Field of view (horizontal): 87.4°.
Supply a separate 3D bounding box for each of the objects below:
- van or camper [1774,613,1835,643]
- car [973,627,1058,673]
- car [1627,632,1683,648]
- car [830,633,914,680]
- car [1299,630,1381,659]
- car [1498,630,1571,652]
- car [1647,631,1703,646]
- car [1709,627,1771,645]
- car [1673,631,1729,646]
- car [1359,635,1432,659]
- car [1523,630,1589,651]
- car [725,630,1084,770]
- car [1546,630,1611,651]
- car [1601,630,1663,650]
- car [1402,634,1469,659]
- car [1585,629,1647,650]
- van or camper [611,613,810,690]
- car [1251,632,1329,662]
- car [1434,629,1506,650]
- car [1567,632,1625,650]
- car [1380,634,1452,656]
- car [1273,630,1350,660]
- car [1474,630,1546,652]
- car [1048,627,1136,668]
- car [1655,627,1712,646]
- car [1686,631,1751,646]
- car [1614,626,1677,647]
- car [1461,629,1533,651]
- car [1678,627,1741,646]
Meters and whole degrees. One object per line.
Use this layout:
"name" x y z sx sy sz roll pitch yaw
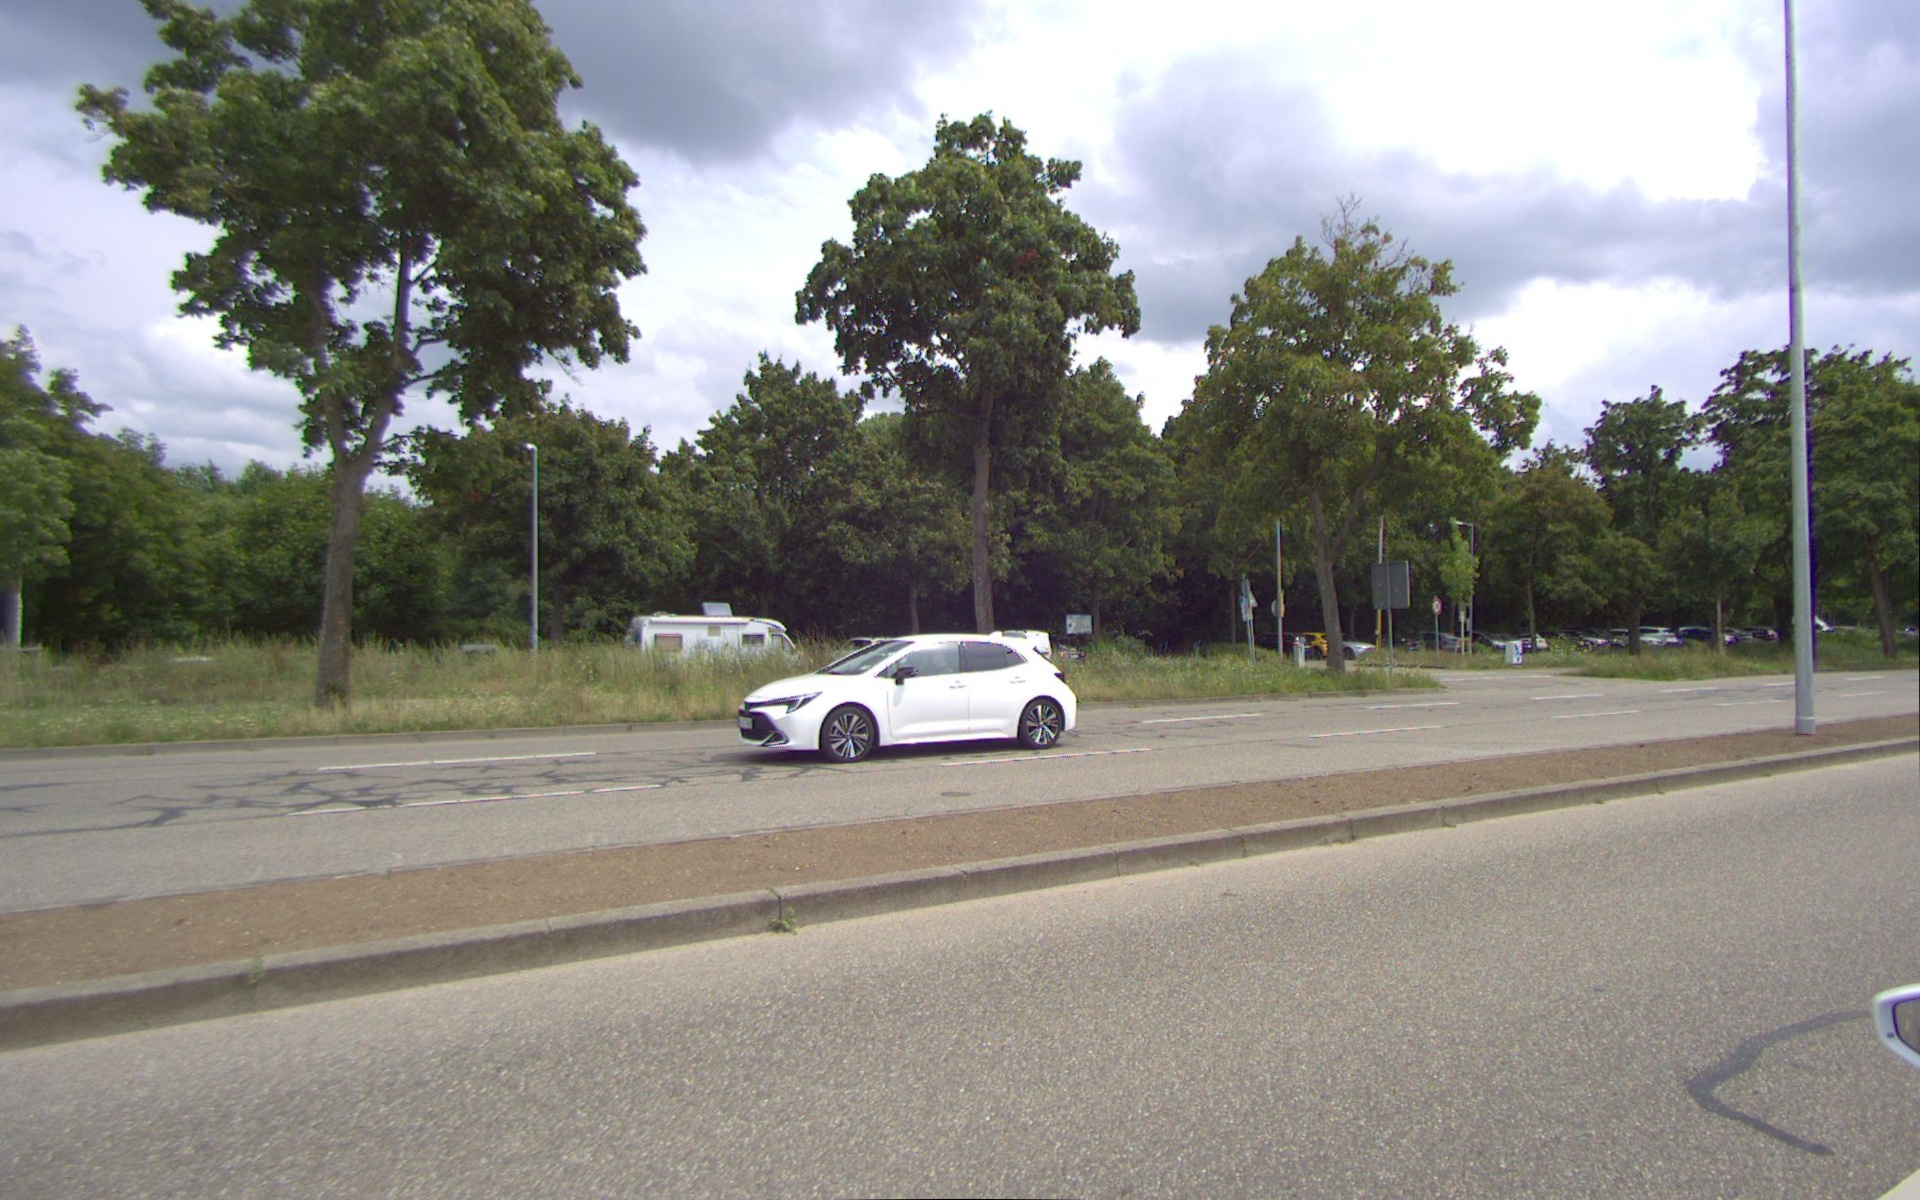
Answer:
"van or camper" 80.009 2.595 95.198 1.904 2.793 3.968 0 -1 -30
"car" 2.401 2.163 44.519 1.916 1.912 3.968 0 -1 -30
"car" 54.471 3.126 78.727 1.424 1.127 3.352 0 -1 -29
"car" -3.574 2.208 40.231 1.864 1.739 3.968 0 -1 -30
"car" 21.558 2.499 57.152 1.862 1.518 4.163 0 -1 -28
"car" 39.582 2.792 69.284 1.973 1.429 3.975 0 -1 -25
"car" 56.203 2.998 78.982 1.424 1.144 3.352 0 -1 -29
"car" 66.568 3.088 85.778 1.941 1.444 3.758 0 -1 -28
"car" 59.511 3.071 80.721 1.424 1.108 3.352 0 -1 -29
"car" 25.838 2.772 59.678 1.763 1.274 3.694 0 -1 -28
"car" 41.608 2.841 70.212 1.687 1.378 3.631 0 -1 -28
"car" -0.635 1.129 12.400 4.110 1.438 1.709 0 -3 -30
"car" 44.344 2.881 72.032 1.687 1.378 3.631 0 -1 -28
"car" 50.805 3.003 75.993 1.498 1.430 3.635 0 -1 -28
"car" 29.869 2.904 63.144 1.498 1.430 3.635 0 -1 -28
"car" 48.754 2.919 74.736 1.498 1.430 3.635 0 -1 -28
"van or camper" -8.991 1.781 36.494 6.641 2.574 2.460 0 -1 -30
"car" 18.068 2.550 55.142 1.763 1.518 3.970 0 -1 -28
"car" 33.134 2.571 65.370 1.646 1.254 3.972 0 -1 -27
"car" 46.277 2.996 73.134 1.498 1.222 3.281 0 -1 -28
"car" 28.333 2.783 62.514 1.545 1.276 3.969 0 -1 -30
"car" 19.618 2.485 56.189 1.763 1.518 3.970 0 -1 -28
"car" 37.483 2.759 68.534 1.799 1.378 3.971 0 -1 -28
"car" 6.007 2.152 46.165 2.022 1.736 3.968 0 -1 -30
"car" 57.747 2.903 80.204 1.305 1.430 3.536 0 -1 -28
"car" 63.465 3.203 84.110 1.904 1.177 3.968 0 -1 -30
"car" 52.842 2.777 77.496 1.859 1.539 3.635 0 -1 -28
"car" 35.801 2.650 67.060 1.646 1.378 3.971 0 -1 -28
"car" 61.590 2.989 82.623 1.976 1.428 3.713 0 -1 -30
